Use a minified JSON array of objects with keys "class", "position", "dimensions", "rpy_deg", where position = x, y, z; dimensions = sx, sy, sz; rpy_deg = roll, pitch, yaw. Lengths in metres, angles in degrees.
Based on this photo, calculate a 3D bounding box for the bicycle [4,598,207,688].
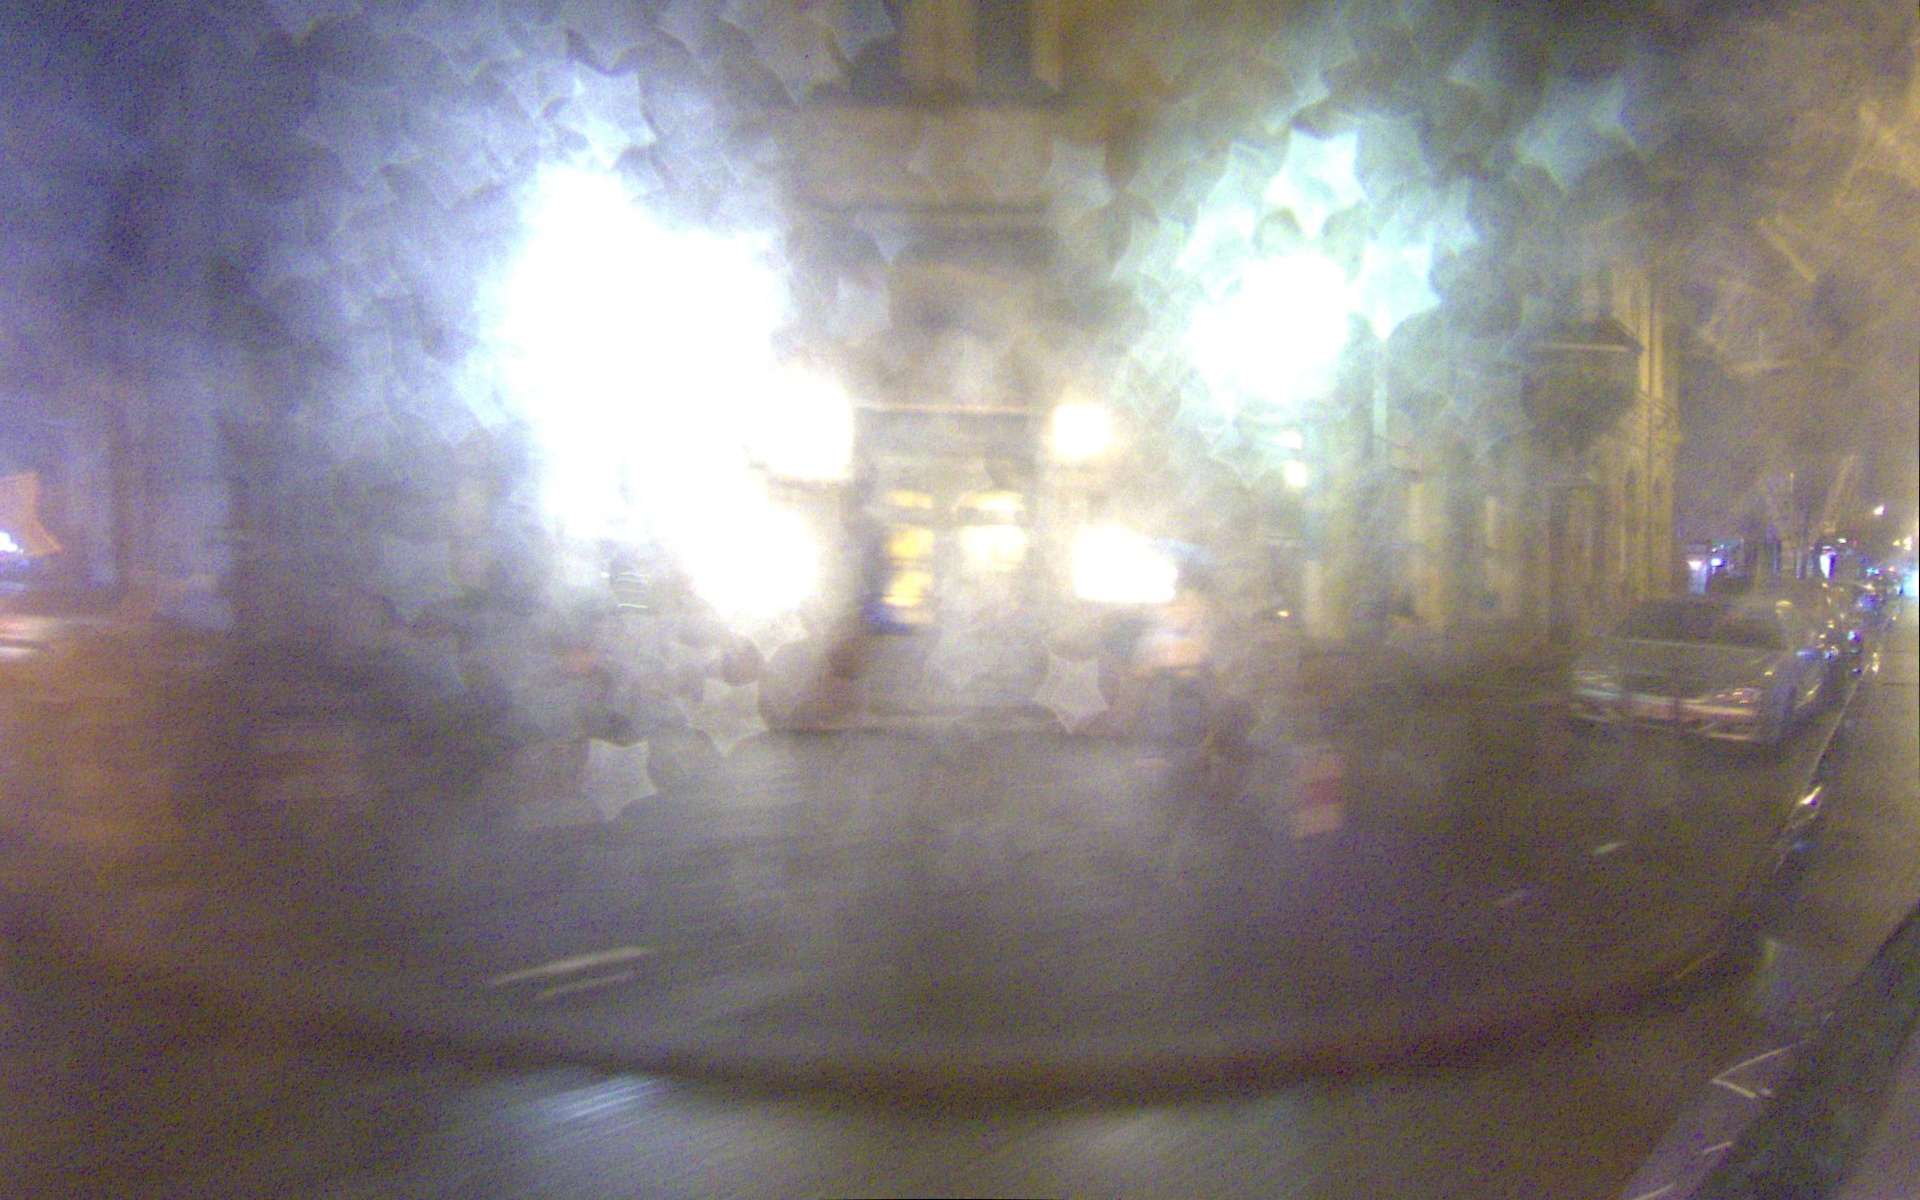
[{"class":"bicycle","position":[-10.998,0.518,13.093],"dimensions":[1.950,1.023,0.701],"rpy_deg":[-2,1,-42]}]

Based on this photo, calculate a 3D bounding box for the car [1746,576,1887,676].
[{"class":"car","position":[14.898,0.353,17.673],"dimensions":[1.688,1.517,3.835],"rpy_deg":[2,2,40]}]

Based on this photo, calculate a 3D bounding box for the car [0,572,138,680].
[{"class":"car","position":[-13.927,0.313,15.677],"dimensions":[1.584,1.476,3.407],"rpy_deg":[-1,2,-44]}]

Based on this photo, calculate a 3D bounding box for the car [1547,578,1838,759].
[{"class":"car","position":[7.598,0.510,10.350],"dimensions":[1.917,1.429,3.938],"rpy_deg":[2,3,43]}]

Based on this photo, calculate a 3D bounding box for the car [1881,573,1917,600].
[{"class":"car","position":[65.825,-0.966,70.941],"dimensions":[1.673,1.743,3.795],"rpy_deg":[3,3,44]}]

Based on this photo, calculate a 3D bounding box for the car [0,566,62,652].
[{"class":"car","position":[-17.736,0.107,18.685],"dimensions":[1.584,1.476,3.970],"rpy_deg":[-1,2,-44]}]

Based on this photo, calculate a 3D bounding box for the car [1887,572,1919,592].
[{"class":"car","position":[73.848,-1.418,79.132],"dimensions":[1.842,1.525,4.096],"rpy_deg":[3,3,44]}]

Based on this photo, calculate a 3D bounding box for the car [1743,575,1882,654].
[{"class":"car","position":[18.302,0.223,21.653],"dimensions":[1.994,1.482,4.347],"rpy_deg":[2,3,44]}]

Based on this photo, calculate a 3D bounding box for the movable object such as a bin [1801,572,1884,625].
[{"class":"movable object such as a bin","position":[25.256,-0.062,28.993],"dimensions":[1.319,1.447,1.199],"rpy_deg":[1,2,8]}]

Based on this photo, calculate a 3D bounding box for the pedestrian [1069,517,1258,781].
[{"class":"pedestrian","position":[1.529,0.312,7.598],"dimensions":[1.064,1.810,0.864],"rpy_deg":[1,3,-43]}]

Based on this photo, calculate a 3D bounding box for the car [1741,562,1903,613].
[{"class":"car","position":[32.865,-0.520,38.676],"dimensions":[4.516,1.548,1.752],"rpy_deg":[7,6,44]}]

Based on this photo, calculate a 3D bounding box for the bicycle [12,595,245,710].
[{"class":"bicycle","position":[-9.198,0.540,11.271],"dimensions":[1.950,1.130,0.507],"rpy_deg":[-2,0,-42]}]

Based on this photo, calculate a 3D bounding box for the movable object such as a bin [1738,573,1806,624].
[{"class":"movable object such as a bin","position":[23.840,-0.071,29.712],"dimensions":[1.030,1.447,1.313],"rpy_deg":[-1,2,-36]}]

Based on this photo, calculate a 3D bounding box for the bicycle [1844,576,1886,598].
[{"class":"bicycle","position":[47.270,-0.661,52.870],"dimensions":[1.529,0.963,0.361],"rpy_deg":[9,8,41]}]

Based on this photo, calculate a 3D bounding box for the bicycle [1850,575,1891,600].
[{"class":"bicycle","position":[50.580,-0.703,56.227],"dimensions":[0.360,1.216,1.532],"rpy_deg":[-2,8,-42]}]

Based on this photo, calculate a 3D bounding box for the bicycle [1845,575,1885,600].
[{"class":"bicycle","position":[50.115,-0.687,56.065],"dimensions":[1.530,1.216,0.360],"rpy_deg":[10,8,43]}]

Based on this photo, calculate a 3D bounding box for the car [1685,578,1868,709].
[{"class":"car","position":[11.485,0.482,14.142],"dimensions":[1.689,1.517,3.831],"rpy_deg":[2,3,43]}]

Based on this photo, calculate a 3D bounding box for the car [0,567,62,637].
[{"class":"car","position":[-21.435,-0.005,22.849],"dimensions":[1.584,1.476,3.407],"rpy_deg":[-1,2,-44]}]

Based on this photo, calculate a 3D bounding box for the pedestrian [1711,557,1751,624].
[{"class":"pedestrian","position":[21.360,-0.264,28.038],"dimensions":[0.613,1.810,0.704],"rpy_deg":[1,3,-42]}]

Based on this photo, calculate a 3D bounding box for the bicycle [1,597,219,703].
[{"class":"bicycle","position":[-10.202,0.558,12.220],"dimensions":[1.950,1.130,0.701],"rpy_deg":[-2,0,-42]}]
